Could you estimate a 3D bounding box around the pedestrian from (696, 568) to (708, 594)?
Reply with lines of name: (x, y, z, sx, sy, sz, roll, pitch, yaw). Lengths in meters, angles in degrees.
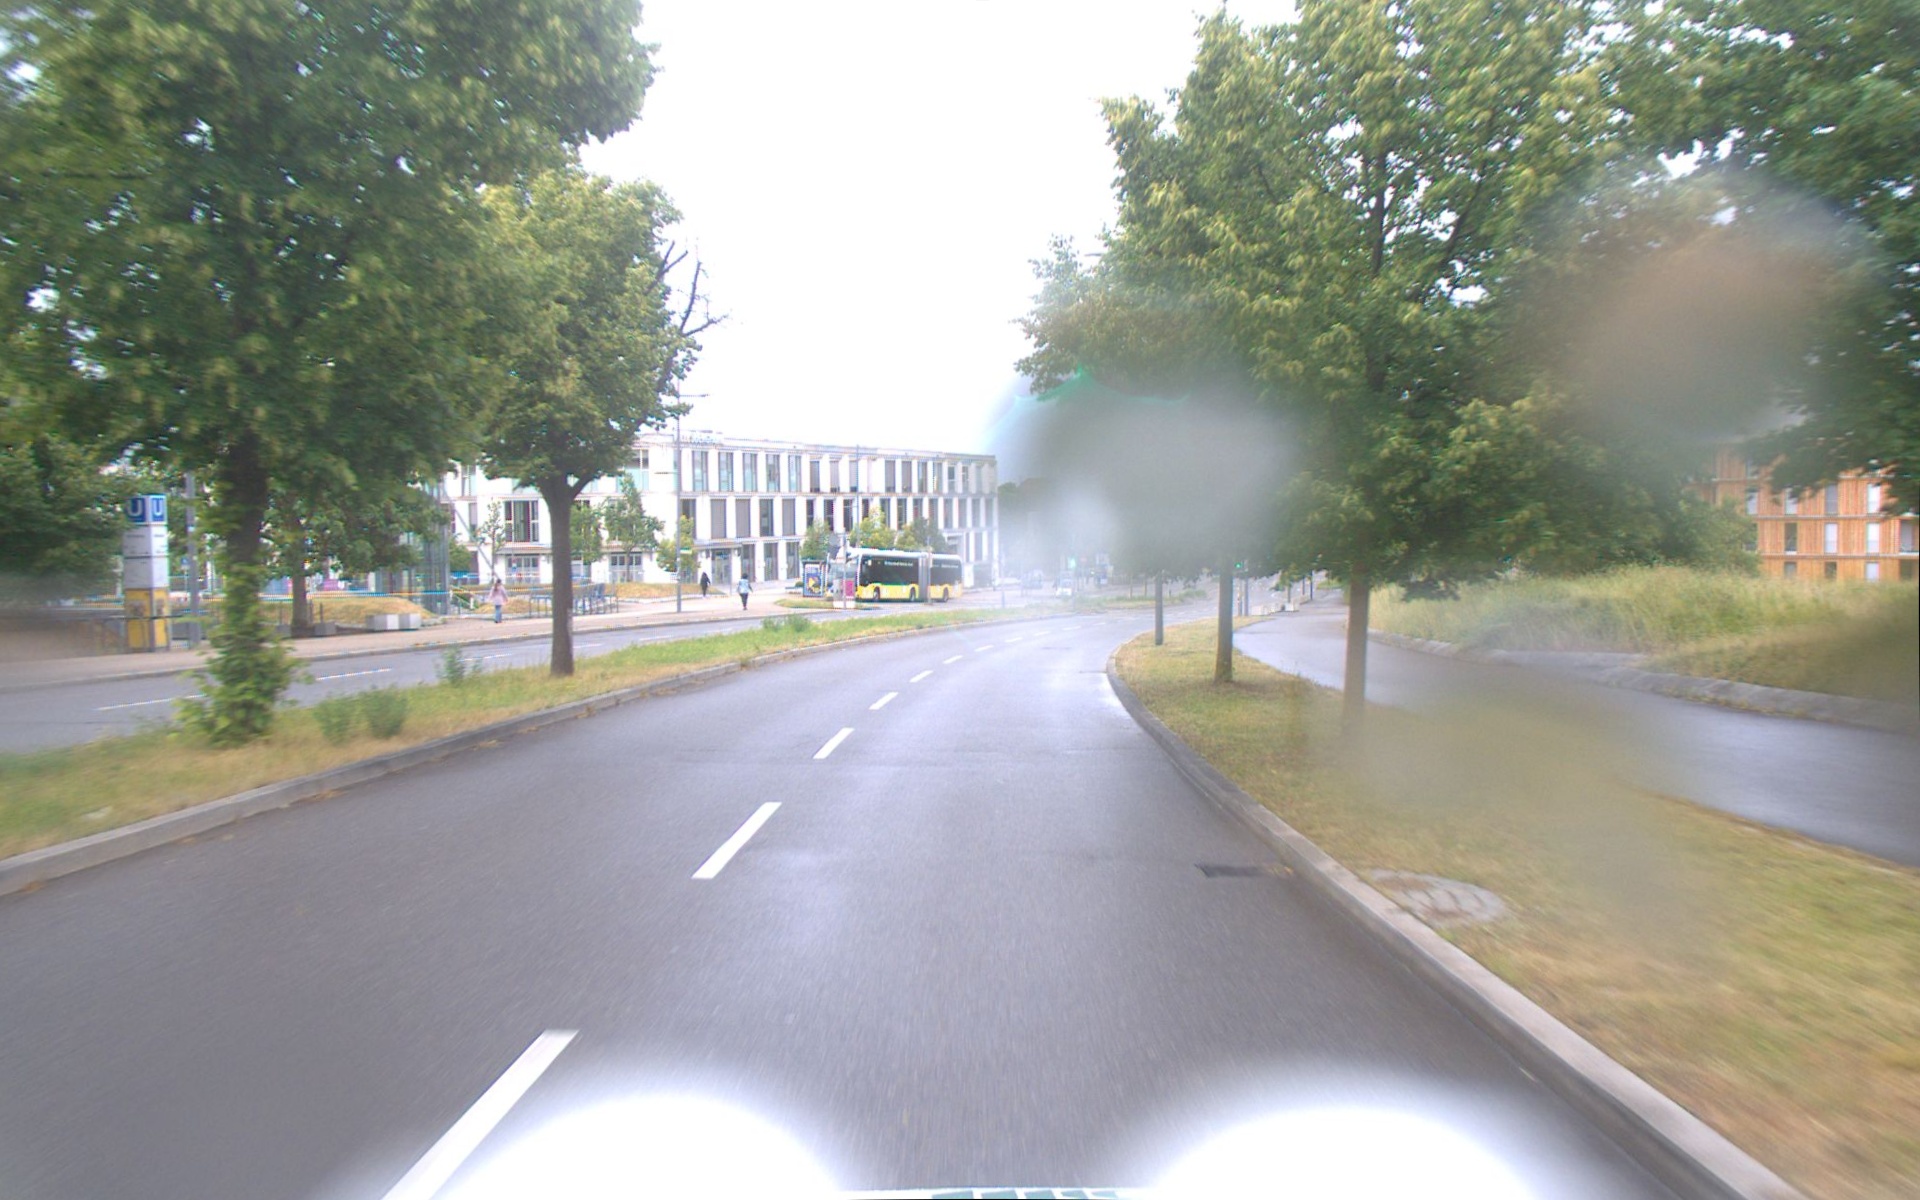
pedestrian: (-15.652, -1.132, 100.452, 0.669, 1.551, 0.719, 0, -1, -4)

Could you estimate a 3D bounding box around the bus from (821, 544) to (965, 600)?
bus: (-4.259, -1.765, 113.240, 2.728, 3.416, 18.225, 0, -1, 21)

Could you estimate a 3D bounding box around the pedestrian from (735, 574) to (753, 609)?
pedestrian: (-10.054, -0.397, 77.038, 0.819, 1.601, 0.717, 0, -1, -10)

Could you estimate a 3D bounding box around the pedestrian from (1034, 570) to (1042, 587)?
pedestrian: (8.473, -2.325, 179.931, 0.733, 1.885, 0.837, 0, -1, -3)

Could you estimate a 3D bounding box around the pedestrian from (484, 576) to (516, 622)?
pedestrian: (-16.577, -0.022, 59.580, 0.796, 1.649, 0.936, 0, -1, 7)

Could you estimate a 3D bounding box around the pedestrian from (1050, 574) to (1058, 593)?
pedestrian: (9.569, -1.706, 169.131, 0.733, 1.981, 0.837, 0, -1, -3)

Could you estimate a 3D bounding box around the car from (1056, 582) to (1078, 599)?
car: (9.930, -0.907, 153.423, 1.447, 1.520, 2.531, 0, -1, 20)
